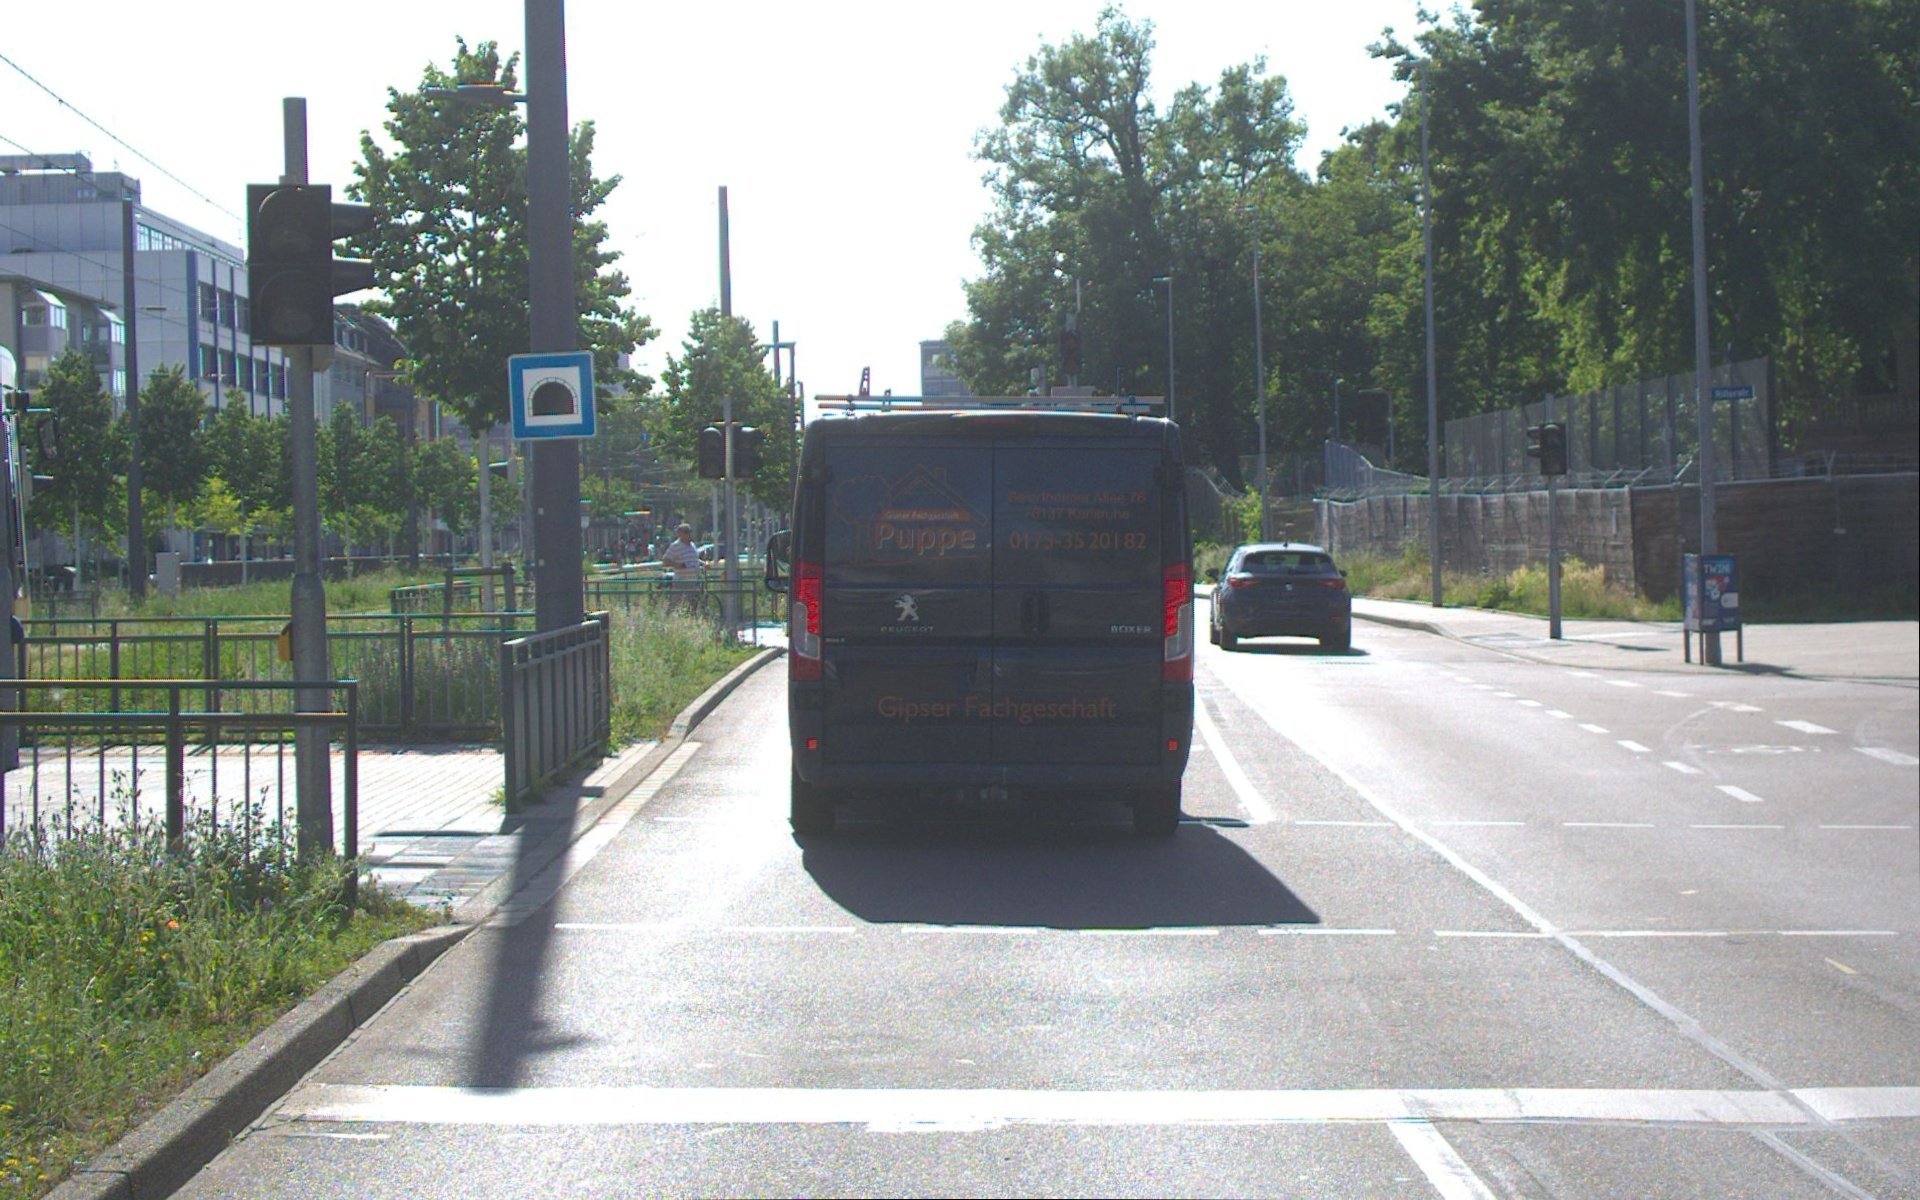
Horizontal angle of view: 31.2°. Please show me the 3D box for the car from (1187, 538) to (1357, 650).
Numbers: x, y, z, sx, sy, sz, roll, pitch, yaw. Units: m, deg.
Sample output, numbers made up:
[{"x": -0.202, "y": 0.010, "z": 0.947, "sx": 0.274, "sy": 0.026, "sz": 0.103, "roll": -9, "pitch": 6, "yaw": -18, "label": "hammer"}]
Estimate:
[{"x": 4.233, "y": -0.110, "z": 47.168, "sx": 1.763, "sy": 1.457, "sz": 4.001, "roll": 0, "pitch": 1, "yaw": -3, "label": "car"}]

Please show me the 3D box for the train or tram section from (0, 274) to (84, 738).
[{"x": -8.508, "y": -0.689, "z": 23.923, "sx": 1.993, "sy": 3.656, "sz": 11.684, "roll": 0, "pitch": 1, "yaw": -1, "label": "train or tram section"}]

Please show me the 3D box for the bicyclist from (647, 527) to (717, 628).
[{"x": -4.184, "y": -0.343, "z": 51.756, "sx": 0.826, "sy": 1.507, "sz": 0.730, "roll": -1, "pitch": 1, "yaw": -26, "label": "bicyclist"}]

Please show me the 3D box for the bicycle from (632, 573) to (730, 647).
[{"x": -4.219, "y": 0.139, "z": 51.844, "sx": 0.732, "sy": 1.087, "sz": 2.083, "roll": -1, "pitch": 1, "yaw": -27, "label": "bicycle"}]

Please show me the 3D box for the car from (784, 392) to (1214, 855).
[{"x": 0.137, "y": 0.082, "z": 18.738, "sx": 2.082, "sy": 2.241, "sz": 4.000, "roll": 0, "pitch": 1, "yaw": -2, "label": "car"}]
